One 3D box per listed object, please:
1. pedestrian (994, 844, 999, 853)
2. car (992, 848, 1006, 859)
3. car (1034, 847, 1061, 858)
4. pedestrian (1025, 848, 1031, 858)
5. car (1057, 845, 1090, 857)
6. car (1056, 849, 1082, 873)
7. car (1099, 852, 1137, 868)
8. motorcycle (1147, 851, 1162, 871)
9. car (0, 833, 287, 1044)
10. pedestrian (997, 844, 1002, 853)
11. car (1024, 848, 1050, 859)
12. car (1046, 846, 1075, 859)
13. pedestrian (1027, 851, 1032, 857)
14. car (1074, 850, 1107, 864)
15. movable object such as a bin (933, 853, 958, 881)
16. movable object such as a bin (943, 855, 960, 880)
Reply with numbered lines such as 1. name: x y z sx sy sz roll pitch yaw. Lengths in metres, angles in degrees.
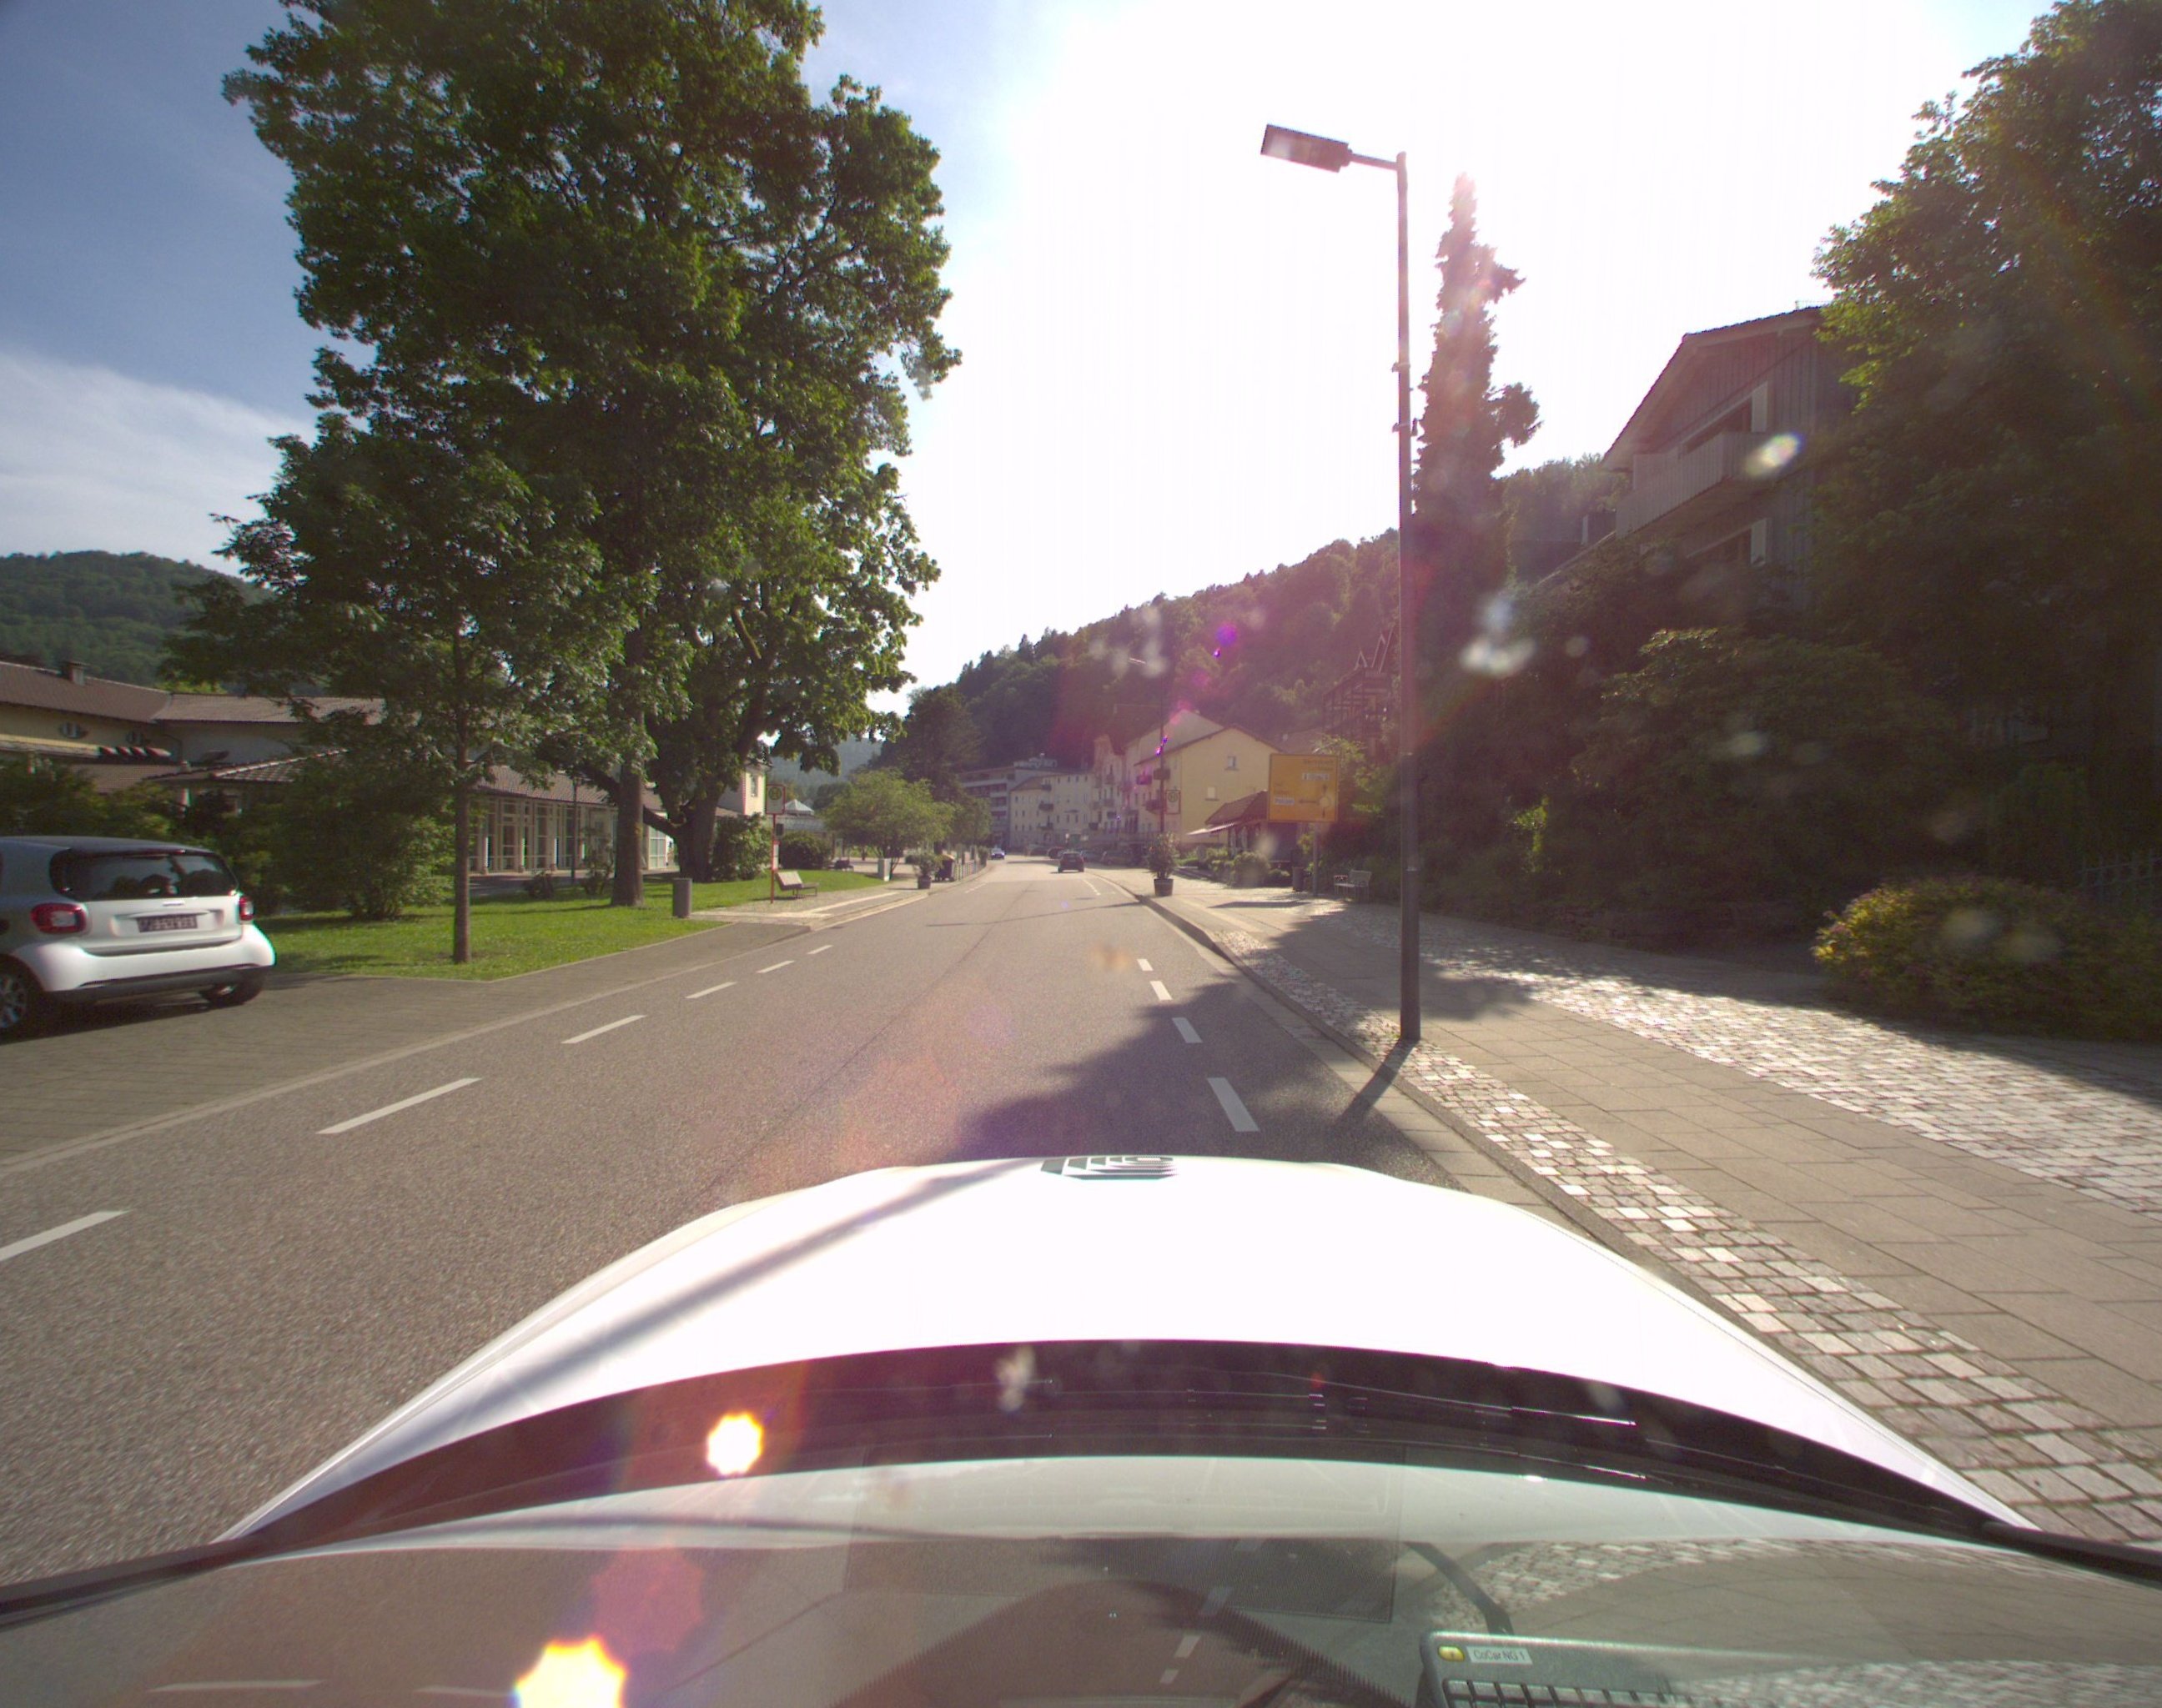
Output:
1. pedestrian: -15.052 -0.955 145.242 0.762 1.593 0.622 1 0 -33
2. car: -11.030 -0.050 110.252 1.738 1.462 4.181 -1 0 -4
3. car: -5.420 -0.263 130.707 4.035 1.516 1.756 -2 3 -30
4. pedestrian: -8.353 -0.180 128.590 0.740 1.442 0.626 -2 1 -35
5. car: -1.075 -0.370 115.672 4.353 1.461 1.768 2 -1 -8
6. car: -0.897 0.461 60.931 1.724 1.574 3.749 2 2 -4
7. car: 4.069 0.662 90.583 3.863 1.554 1.753 3 0 -13
8. motorcycle: 5.049 0.472 55.976 0.695 1.296 2.209 -2 0 -4
9. car: -9.136 0.624 7.177 2.638 1.547 1.685 2 0 6
10. pedestrian: -14.606 -0.984 146.470 0.673 1.728 0.700 1 0 -32
11. car: -7.351 -0.093 135.036 3.886 1.549 1.756 -2 3 -30
12. car: -3.020 -0.188 120.551 4.084 1.666 1.767 4 0 -10
13. pedestrian: -8.144 0.012 128.778 0.420 1.002 0.525 -2 1 -36
14. car: 1.246 0.358 104.139 3.909 1.589 1.769 3 0 -10
15. movable object such as a bin: -7.154 0.686 43.027 1.076 1.427 1.375 2 0 -3
16. movable object such as a bin: -7.169 0.749 45.031 0.753 1.341 1.293 2 0 -3
